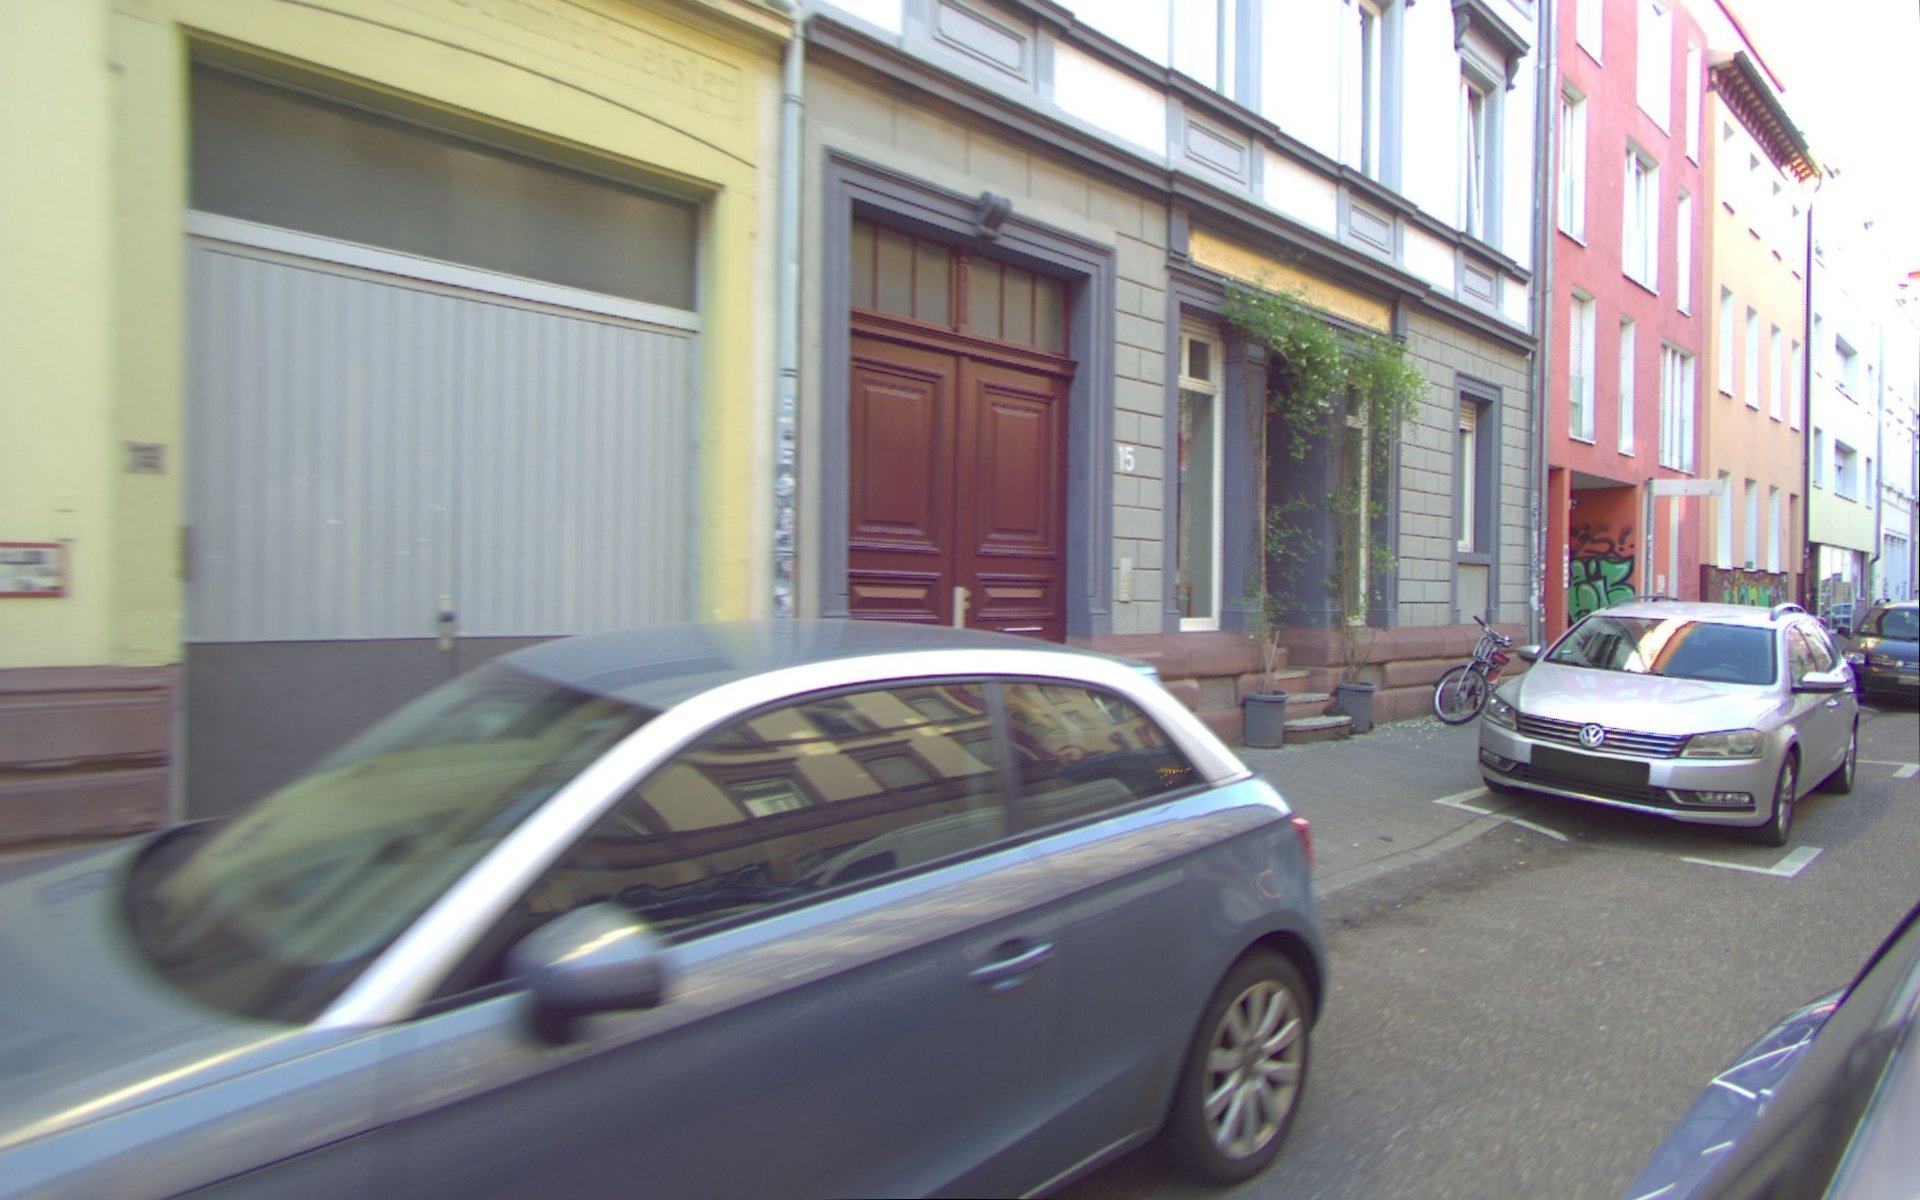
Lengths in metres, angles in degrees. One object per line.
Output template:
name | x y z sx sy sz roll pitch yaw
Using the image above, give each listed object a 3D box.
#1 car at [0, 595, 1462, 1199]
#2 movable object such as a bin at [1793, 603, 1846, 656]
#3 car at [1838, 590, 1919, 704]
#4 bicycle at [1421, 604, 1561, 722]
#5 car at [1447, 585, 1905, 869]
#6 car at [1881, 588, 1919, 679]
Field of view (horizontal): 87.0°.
car | -0.539 0.731 2.543 4.098 1.462 1.751 0 1 -40
movable object such as a bin | 18.562 0.633 21.861 0.723 1.070 0.694 0 3 -39
car | 14.902 0.683 15.477 3.388 1.558 1.606 0 3 -39
bicycle | 5.804 0.638 11.022 1.869 1.110 0.711 -1 4 -43
car | 5.658 0.693 7.757 4.467 1.471 1.790 0 4 -41
car | 18.478 0.600 18.573 4.096 1.575 1.750 0 1 -39
